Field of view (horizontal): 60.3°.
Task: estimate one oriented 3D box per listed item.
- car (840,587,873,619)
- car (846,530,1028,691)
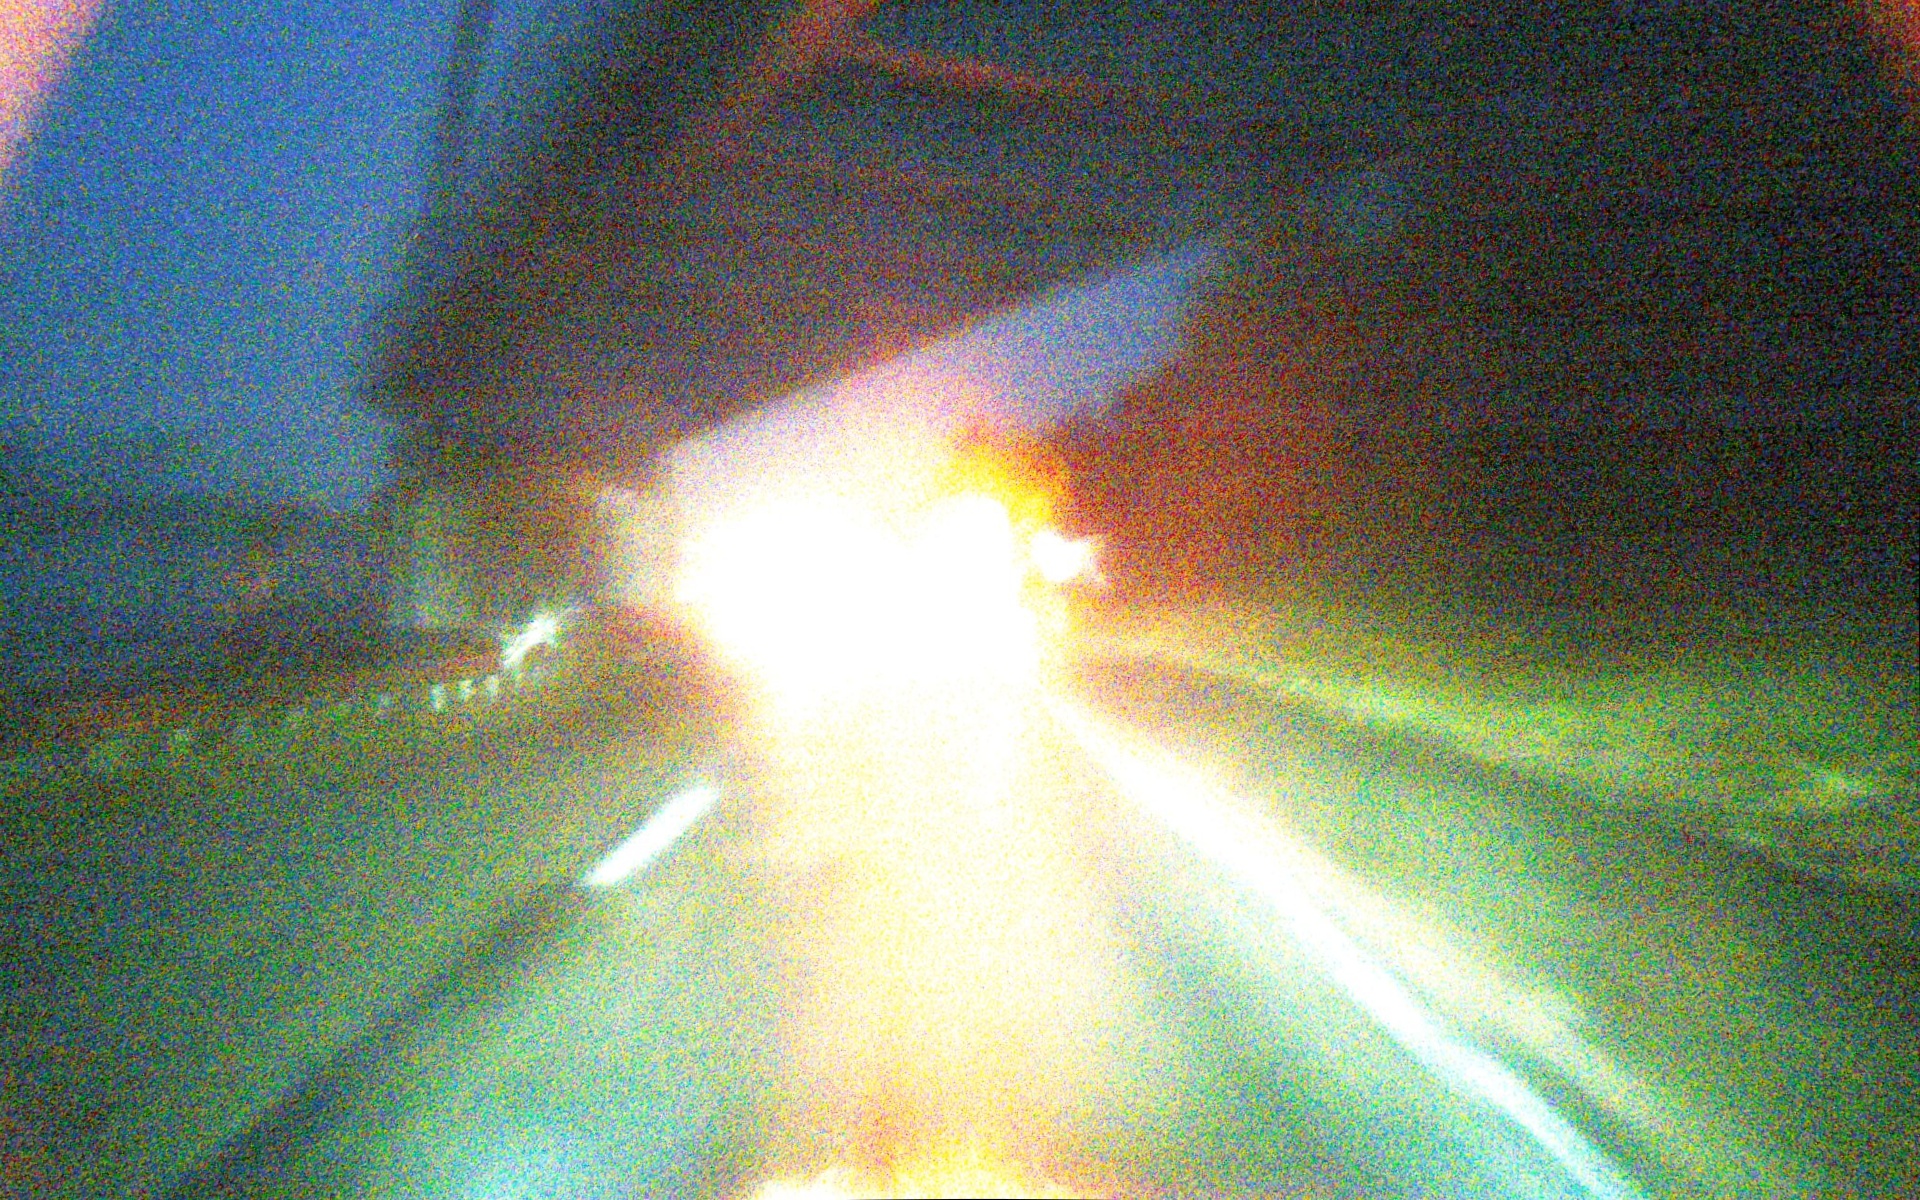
[{"bbox_3d":[-6.495,0.187,104.233,1.954,1.948,3.997,2,0,-4],"label":"car"},{"bbox_3d":[-0.440,0.135,27.342,2.661,2.348,6.098,0,0,-2],"label":"car"}]
